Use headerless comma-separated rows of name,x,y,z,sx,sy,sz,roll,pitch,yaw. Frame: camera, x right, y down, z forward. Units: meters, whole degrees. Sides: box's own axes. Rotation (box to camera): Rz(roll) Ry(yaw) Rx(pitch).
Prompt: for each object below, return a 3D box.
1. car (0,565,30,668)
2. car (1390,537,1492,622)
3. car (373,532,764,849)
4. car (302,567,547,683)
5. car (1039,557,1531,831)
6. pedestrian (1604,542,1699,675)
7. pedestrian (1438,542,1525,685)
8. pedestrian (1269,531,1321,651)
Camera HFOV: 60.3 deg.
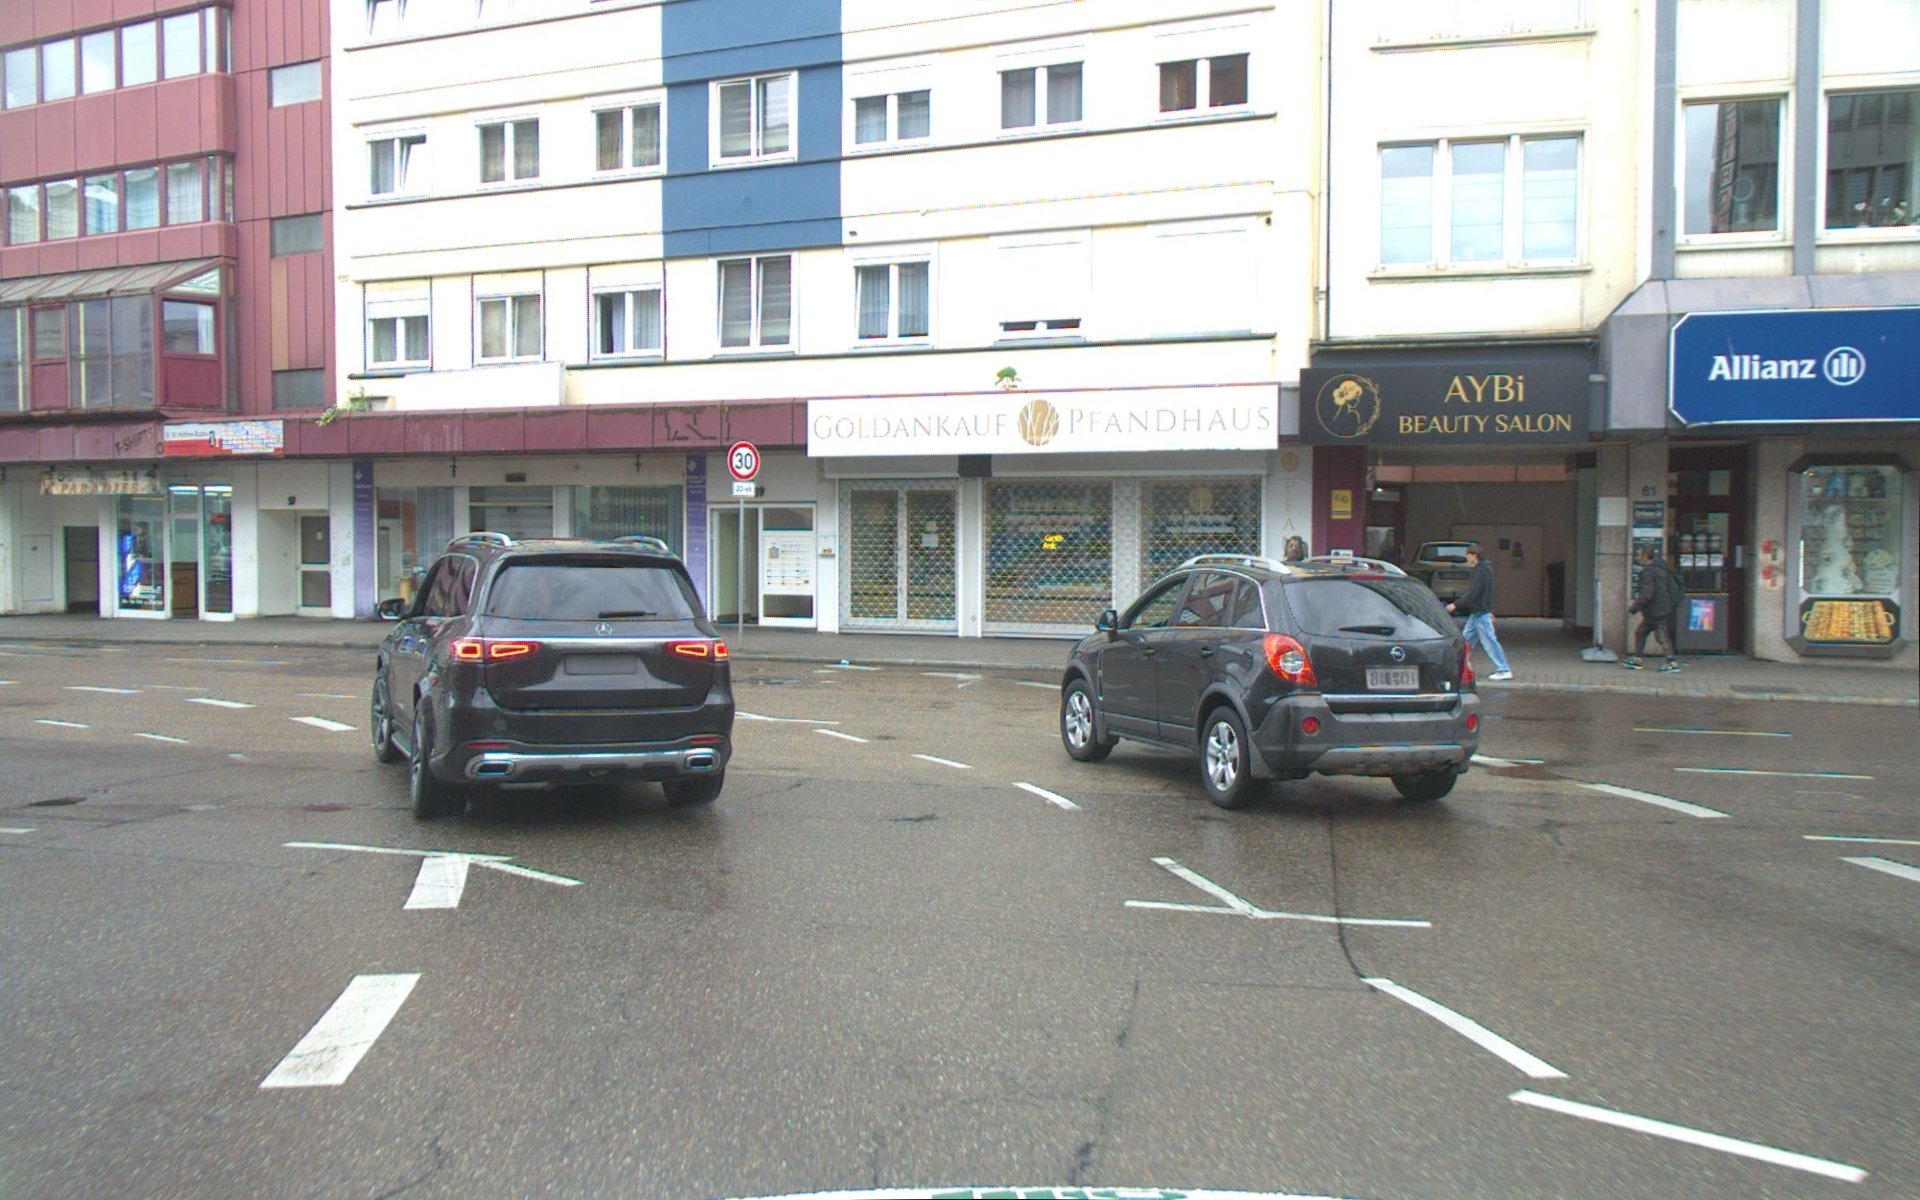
car,-16.688,0.253,25.583,4.300,1.520,1.879,2,5,27
car,10.202,-0.405,35.335,1.758,1.699,4.003,0,0,11
car,-3.063,0.460,12.086,2.011,1.830,4.629,0,1,-23
car,-7.321,0.326,22.407,1.757,1.422,3.939,0,-1,-41
car,2.281,0.542,13.008,1.868,1.724,4.483,0,2,-18
pedestrian,9.376,0.093,22.478,1.008,1.718,0.831,0,6,11
pedestrian,6.972,0.160,22.161,1.008,1.830,0.831,0,6,12
pedestrian,4.938,-0.143,24.381,0.737,1.718,0.566,0,6,12
